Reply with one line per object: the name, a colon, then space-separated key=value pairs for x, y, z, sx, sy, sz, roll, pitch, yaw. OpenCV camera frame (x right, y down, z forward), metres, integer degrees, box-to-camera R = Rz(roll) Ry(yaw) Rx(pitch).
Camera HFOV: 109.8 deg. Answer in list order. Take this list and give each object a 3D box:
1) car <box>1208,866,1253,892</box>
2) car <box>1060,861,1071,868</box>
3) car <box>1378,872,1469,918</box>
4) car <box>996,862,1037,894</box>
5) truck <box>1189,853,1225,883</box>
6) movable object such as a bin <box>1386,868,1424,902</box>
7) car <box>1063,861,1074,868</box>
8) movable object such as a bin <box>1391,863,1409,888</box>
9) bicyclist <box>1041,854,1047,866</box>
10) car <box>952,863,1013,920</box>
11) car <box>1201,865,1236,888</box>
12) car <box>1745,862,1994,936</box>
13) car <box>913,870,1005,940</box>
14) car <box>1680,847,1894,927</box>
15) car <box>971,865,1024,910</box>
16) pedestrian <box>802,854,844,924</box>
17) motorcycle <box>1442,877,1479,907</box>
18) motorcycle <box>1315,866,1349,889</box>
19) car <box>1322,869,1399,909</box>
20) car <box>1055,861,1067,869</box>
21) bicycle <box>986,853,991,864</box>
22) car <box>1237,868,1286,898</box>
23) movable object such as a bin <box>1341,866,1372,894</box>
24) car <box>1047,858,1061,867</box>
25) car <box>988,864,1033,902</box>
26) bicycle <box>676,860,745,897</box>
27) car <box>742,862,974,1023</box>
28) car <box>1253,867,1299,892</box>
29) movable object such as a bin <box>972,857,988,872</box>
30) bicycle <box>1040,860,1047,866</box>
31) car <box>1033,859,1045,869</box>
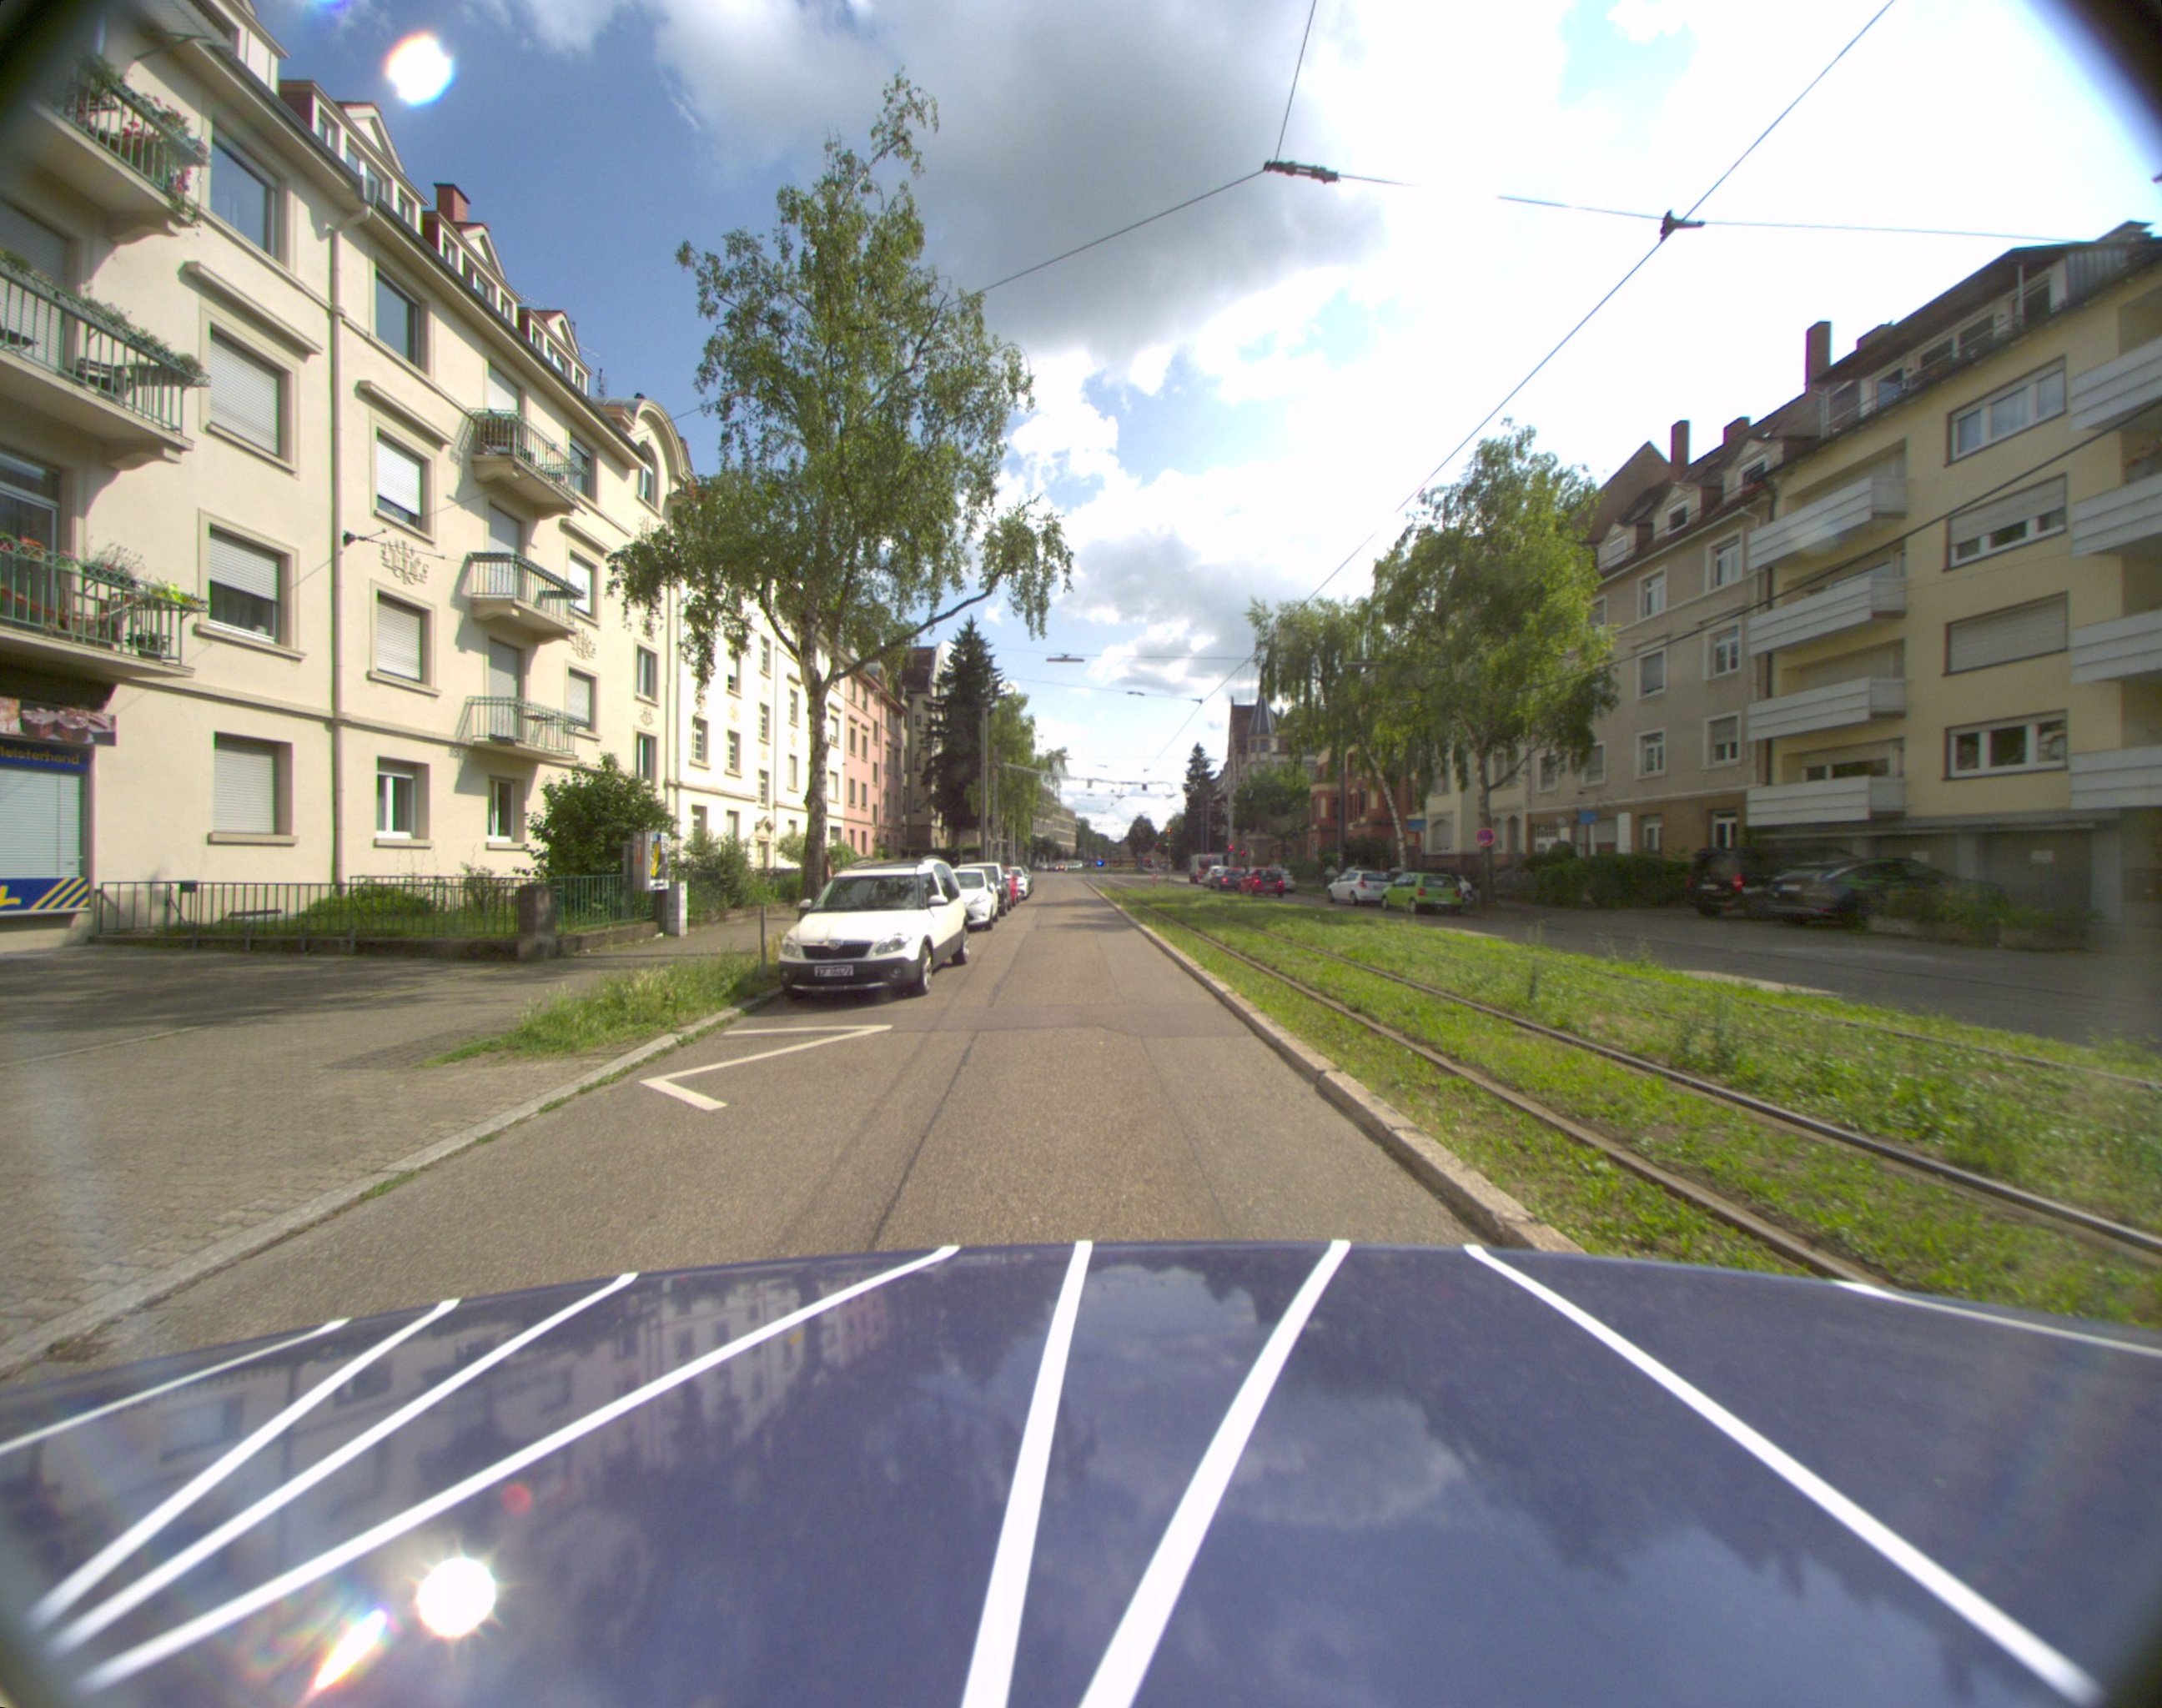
car: x=8.869 y=1.450 z=45.414 sx=1.759 sy=1.348 sz=4.512 roll=2 pitch=0 yaw=1
car: x=-2.736 y=1.879 z=134.196 sx=1.619 sy=1.265 sz=4.001 roll=-1 pitch=0 yaw=3
car: x=12.073 y=1.414 z=27.023 sx=1.598 sy=1.423 sz=3.614 roll=1 pitch=0 yaw=0
car: x=-3.333 y=1.208 z=39.896 sx=1.796 sy=1.511 sz=4.526 roll=-2 pitch=0 yaw=-2
truck: x=10.093 y=1.105 z=61.388 sx=2.190 sy=2.201 sz=6.614 roll=1 pitch=0 yaw=3
movable object such as a bin: x=14.202 y=1.349 z=33.306 sx=0.953 sy=1.421 sz=1.521 roll=-2 pitch=0 yaw=-2
car: x=-2.323 y=1.970 z=141.583 sx=1.619 sy=1.265 sz=4.001 roll=-1 pitch=0 yaw=3
movable object such as a bin: x=17.521 y=1.193 z=41.696 sx=0.675 sy=1.354 sz=0.699 roll=0 pitch=0 yaw=-4
bicyclist: x=-5.485 y=0.884 z=112.161 sx=0.665 sy=1.679 sz=0.857 roll=1 pitch=0 yaw=4
car: x=-2.962 y=1.086 z=23.424 sx=1.497 sy=1.570 sz=3.758 roll=-2 pitch=0 yaw=-2
car: x=9.342 y=1.486 z=51.867 sx=1.759 sy=1.406 sz=4.134 roll=2 pitch=0 yaw=3
car: x=18.931 y=1.044 z=18.392 sx=3.997 sy=1.593 sz=1.973 roll=-1 pitch=0 yaw=-1
car: x=-2.872 y=1.153 z=18.556 sx=1.677 sy=1.408 sz=3.794 roll=-2 pitch=0 yaw=-2
car: x=19.321 y=0.871 z=20.946 sx=3.996 sy=2.002 sz=1.937 roll=-1 pitch=0 yaw=2
car: x=-3.089 y=1.218 z=28.686 sx=1.593 sy=1.444 sz=3.844 roll=-3 pitch=0 yaw=-1
pedestrian: x=-6.392 y=0.849 z=18.869 sx=0.731 sy=1.673 sz=0.691 roll=2 pitch=0 yaw=2
motorcycle: x=14.256 y=1.411 z=28.581 sx=0.500 sy=1.036 sz=1.632 roll=-3 pitch=1 yaw=-1
motorcycle: x=14.075 y=1.288 z=42.623 sx=0.903 sy=1.235 sz=2.293 roll=0 pitch=0 yaw=-7
car: x=11.773 y=1.443 z=32.252 sx=1.649 sy=1.469 sz=4.225 roll=2 pitch=0 yaw=0
car: x=-3.277 y=1.868 z=126.470 sx=1.619 sy=1.265 sz=4.001 roll=-1 pitch=0 yaw=3
bicycle: x=-9.306 y=0.456 z=76.382 sx=0.350 sy=1.016 sz=1.481 roll=3 pitch=0 yaw=-2
car: x=9.031 y=1.421 z=38.262 sx=1.583 sy=1.378 sz=3.692 roll=1 pitch=0 yaw=0
movable object such as a bin: x=14.437 y=1.373 z=39.825 sx=0.953 sy=1.359 sz=1.521 roll=-5 pitch=0 yaw=-2
car: x=-4.201 y=1.332 z=119.252 sx=1.740 sy=1.313 sz=4.001 roll=-1 pitch=0 yaw=3
car: x=-3.013 y=1.204 z=33.187 sx=1.624 sy=1.444 sz=3.918 roll=-3 pitch=0 yaw=-1
bicycle: x=-12.451 y=0.819 z=25.589 sx=1.978 sy=1.244 sz=0.672 roll=0 pitch=0 yaw=-3
car: x=-2.631 y=0.955 z=9.996 sx=1.725 sy=1.620 sz=4.000 roll=-2 pitch=0 yaw=2
car: x=11.648 y=1.481 z=45.657 sx=1.759 sy=1.348 sz=3.995 roll=1 pitch=0 yaw=1
movable object such as a bin: x=-10.024 y=1.062 z=75.229 sx=1.305 sy=1.483 sz=2.000 roll=1 pitch=0 yaw=0
bicycle: x=-5.492 y=1.359 z=112.124 sx=0.771 sy=0.885 sz=1.892 roll=1 pitch=0 yaw=5
car: x=-7.156 y=1.698 z=128.626 sx=1.999 sy=1.730 sz=3.999 roll=1 pitch=0 yaw=-2
